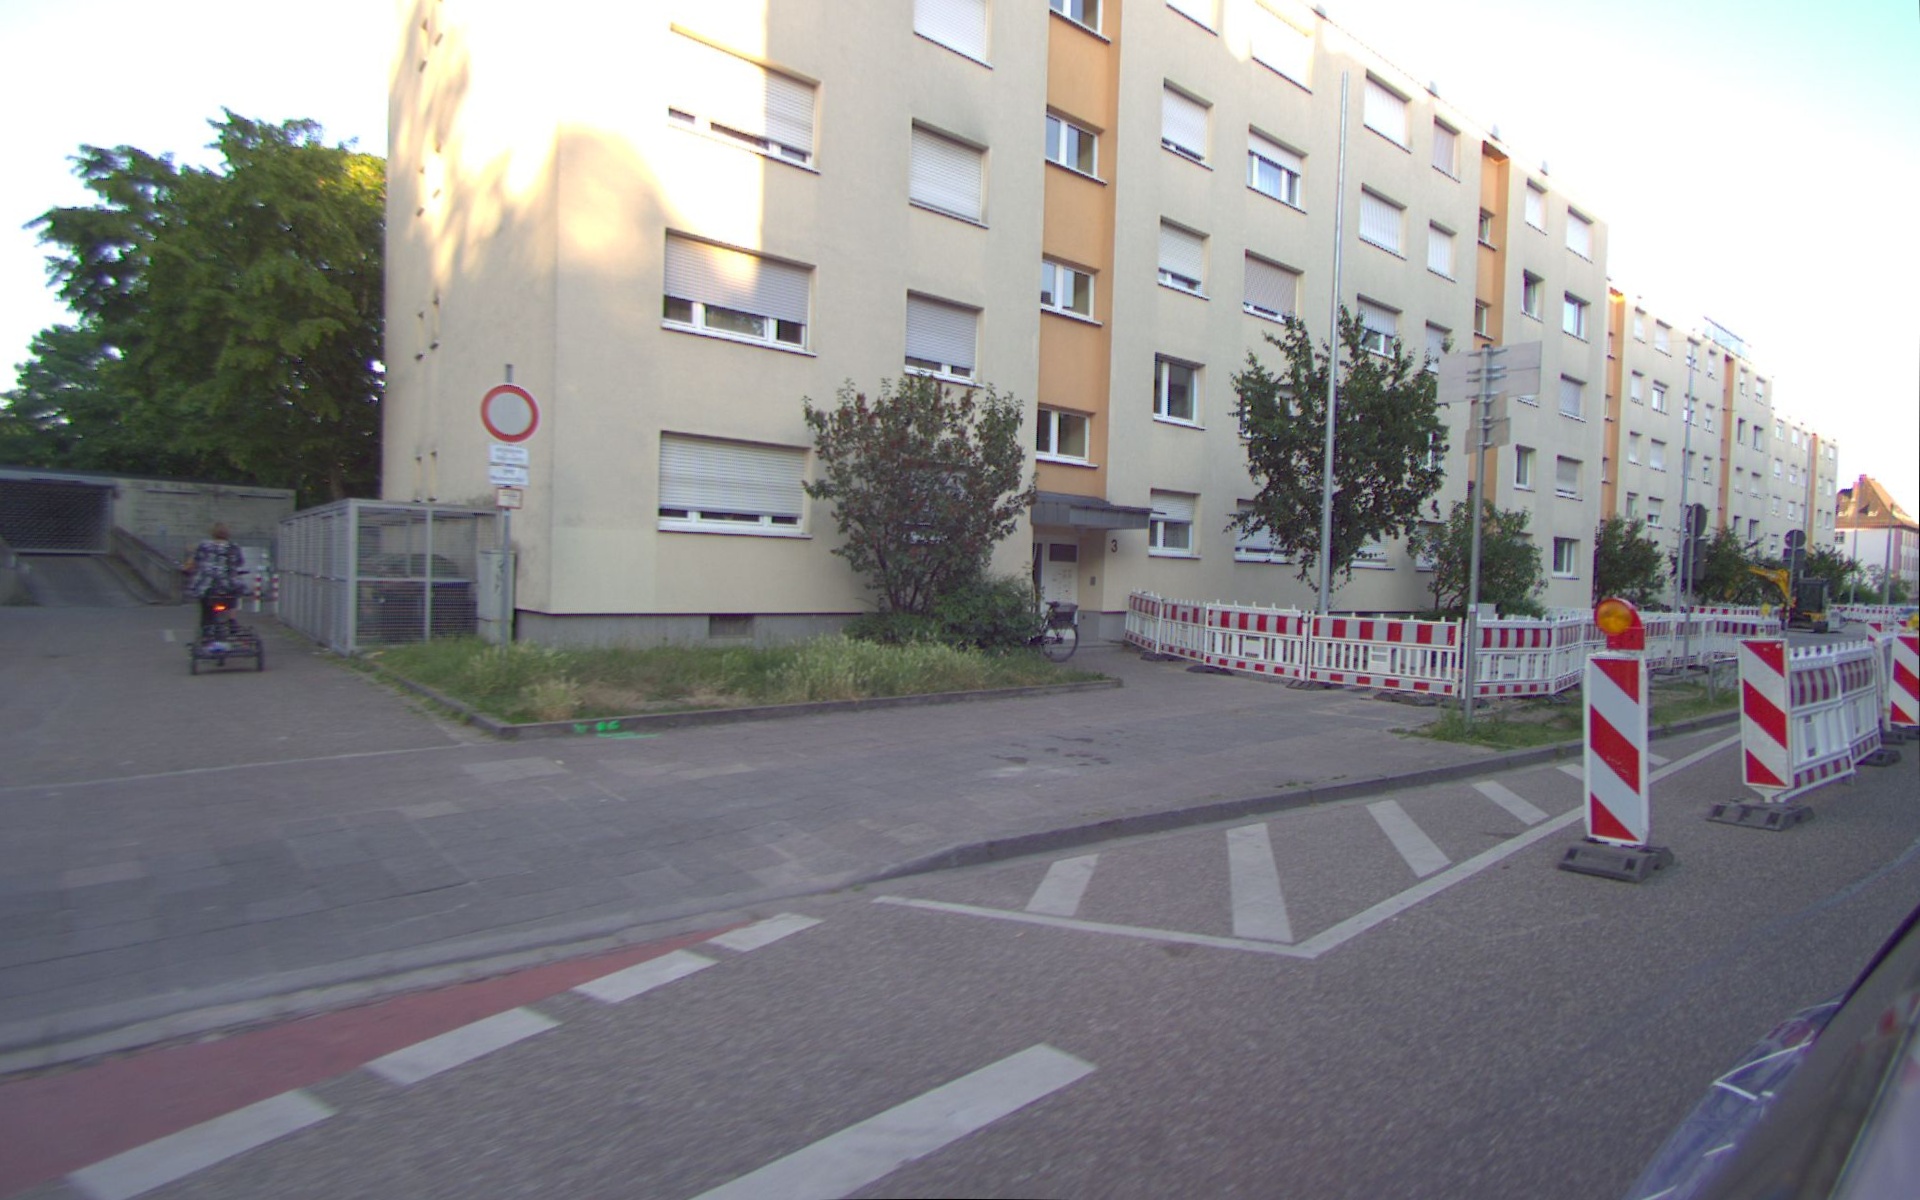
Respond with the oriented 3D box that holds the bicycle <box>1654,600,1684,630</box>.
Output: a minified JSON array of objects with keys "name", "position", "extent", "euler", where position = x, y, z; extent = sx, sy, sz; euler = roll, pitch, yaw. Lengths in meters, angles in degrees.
[{"name":"bicycle","position":[28.638,0.600,40.869],"extent":[1.785,1.186,0.557],"euler":[0,1,-41]}]

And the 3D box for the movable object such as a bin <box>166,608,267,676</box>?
[{"name":"movable object such as a bin","position":[-8.789,0.476,11.961],"extent":[0.925,0.697,0.993],"euler":[0,2,-38]}]

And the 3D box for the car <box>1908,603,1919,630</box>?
[{"name":"car","position":[56.614,1.011,58.813],"extent":[4.495,1.508,1.780],"euler":[0,6,-42]}]

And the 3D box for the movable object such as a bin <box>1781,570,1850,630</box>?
[{"name":"movable object such as a bin","position":[41.084,-0.016,48.595],"extent":[2.839,2.726,1.938],"euler":[1,1,-39]}]

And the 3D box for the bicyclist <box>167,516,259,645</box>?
[{"name":"bicyclist","position":[-9.811,-0.266,13.279],"extent":[0.925,1.601,1.146],"euler":[1,2,-38]}]

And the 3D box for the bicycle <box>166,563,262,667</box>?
[{"name":"bicycle","position":[-9.810,0.142,13.275],"extent":[0.925,1.186,2.358],"euler":[1,2,-38]}]

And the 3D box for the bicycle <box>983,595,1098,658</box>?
[{"name":"bicycle","position":[1.314,0.438,16.550],"extent":[1.776,0.980,0.547],"euler":[1,1,-20]}]

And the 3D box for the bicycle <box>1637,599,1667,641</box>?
[{"name":"bicycle","position":[21.292,0.600,31.133],"extent":[0.398,1.237,1.880],"euler":[2,1,45]}]

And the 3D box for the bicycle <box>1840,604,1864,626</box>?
[{"name":"bicycle","position":[51.238,0.837,58.130],"extent":[0.552,1.186,1.800],"euler":[2,1,27]}]

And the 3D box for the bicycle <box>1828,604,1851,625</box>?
[{"name":"bicycle","position":[50.531,0.831,58.174],"extent":[0.623,1.186,1.797],"euler":[2,1,30]}]

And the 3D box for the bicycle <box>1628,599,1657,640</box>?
[{"name":"bicycle","position":[21.171,0.596,31.365],"extent":[0.398,1.237,1.796],"euler":[2,1,45]}]

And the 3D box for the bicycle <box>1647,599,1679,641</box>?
[{"name":"bicycle","position":[21.541,0.604,30.991],"extent":[0.452,1.237,1.880],"euler":[2,1,45]}]
